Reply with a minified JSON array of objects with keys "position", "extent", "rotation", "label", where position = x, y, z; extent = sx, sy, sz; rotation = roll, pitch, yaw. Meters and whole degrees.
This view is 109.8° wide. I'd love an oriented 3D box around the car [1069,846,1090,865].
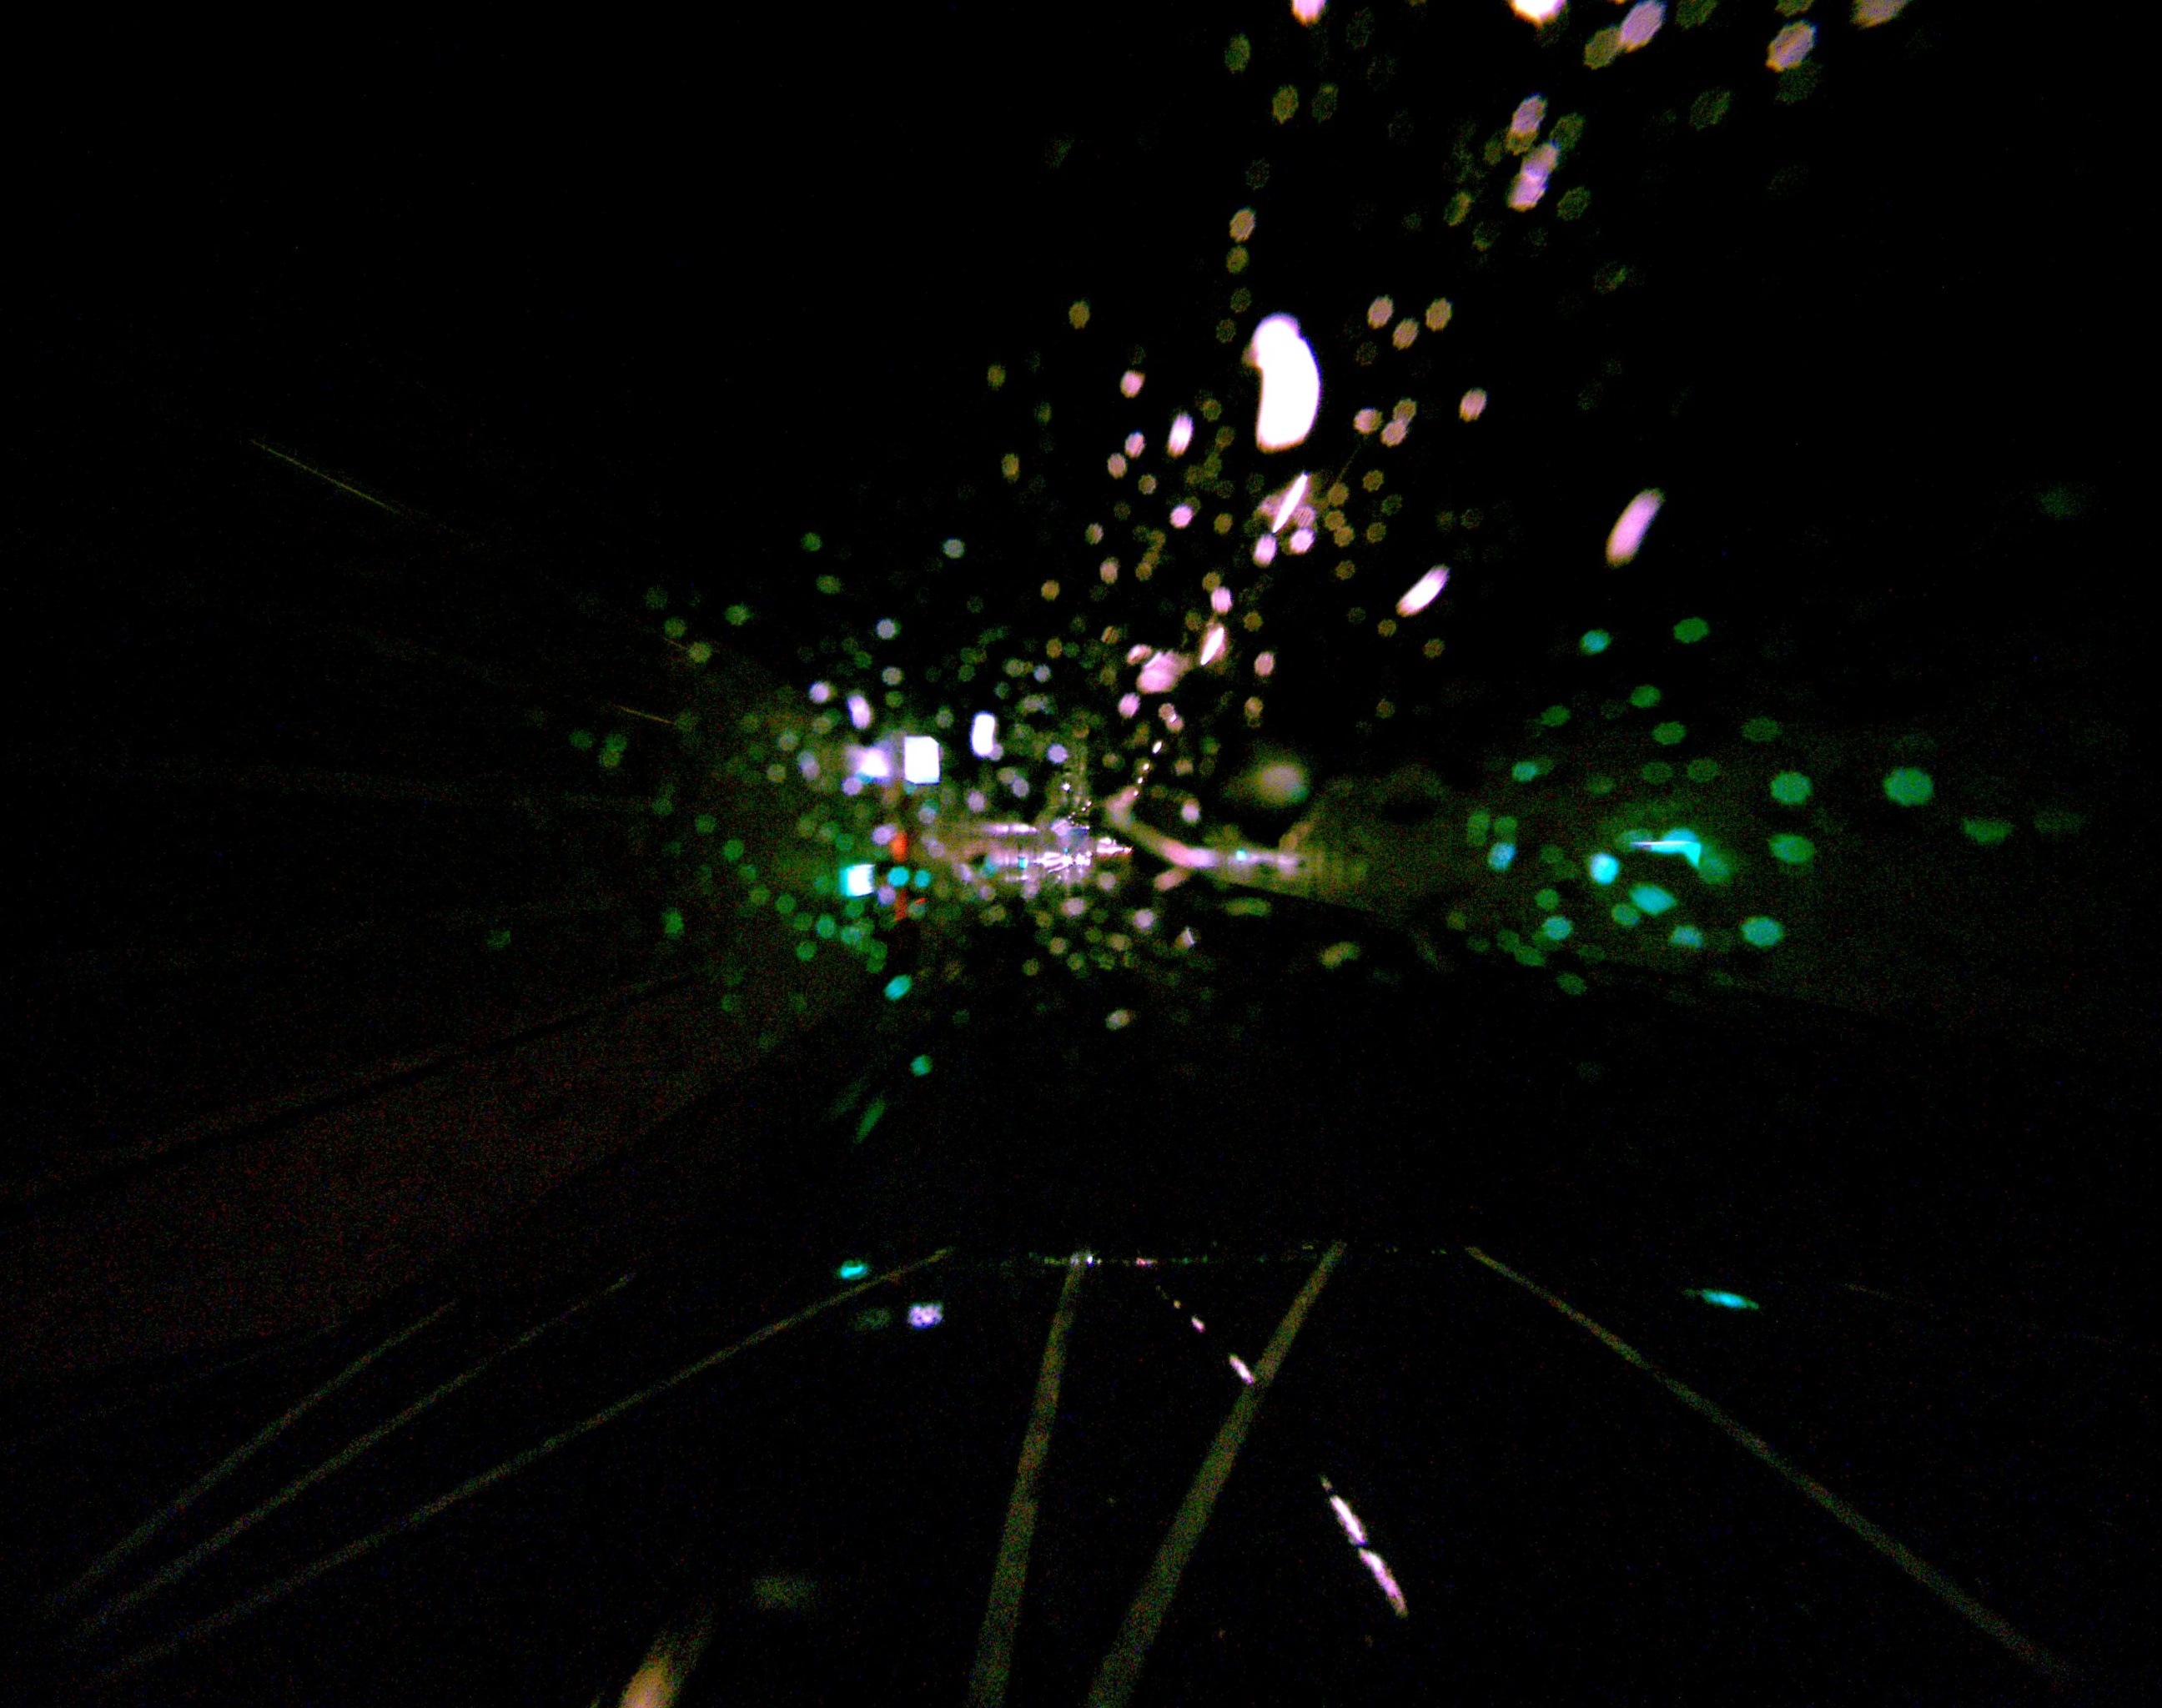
[{"position":[-0.192,0.142,86.943],"extent":[2.030,2.017,4.425],"rotation":[-2,0,4],"label":"car"}]
